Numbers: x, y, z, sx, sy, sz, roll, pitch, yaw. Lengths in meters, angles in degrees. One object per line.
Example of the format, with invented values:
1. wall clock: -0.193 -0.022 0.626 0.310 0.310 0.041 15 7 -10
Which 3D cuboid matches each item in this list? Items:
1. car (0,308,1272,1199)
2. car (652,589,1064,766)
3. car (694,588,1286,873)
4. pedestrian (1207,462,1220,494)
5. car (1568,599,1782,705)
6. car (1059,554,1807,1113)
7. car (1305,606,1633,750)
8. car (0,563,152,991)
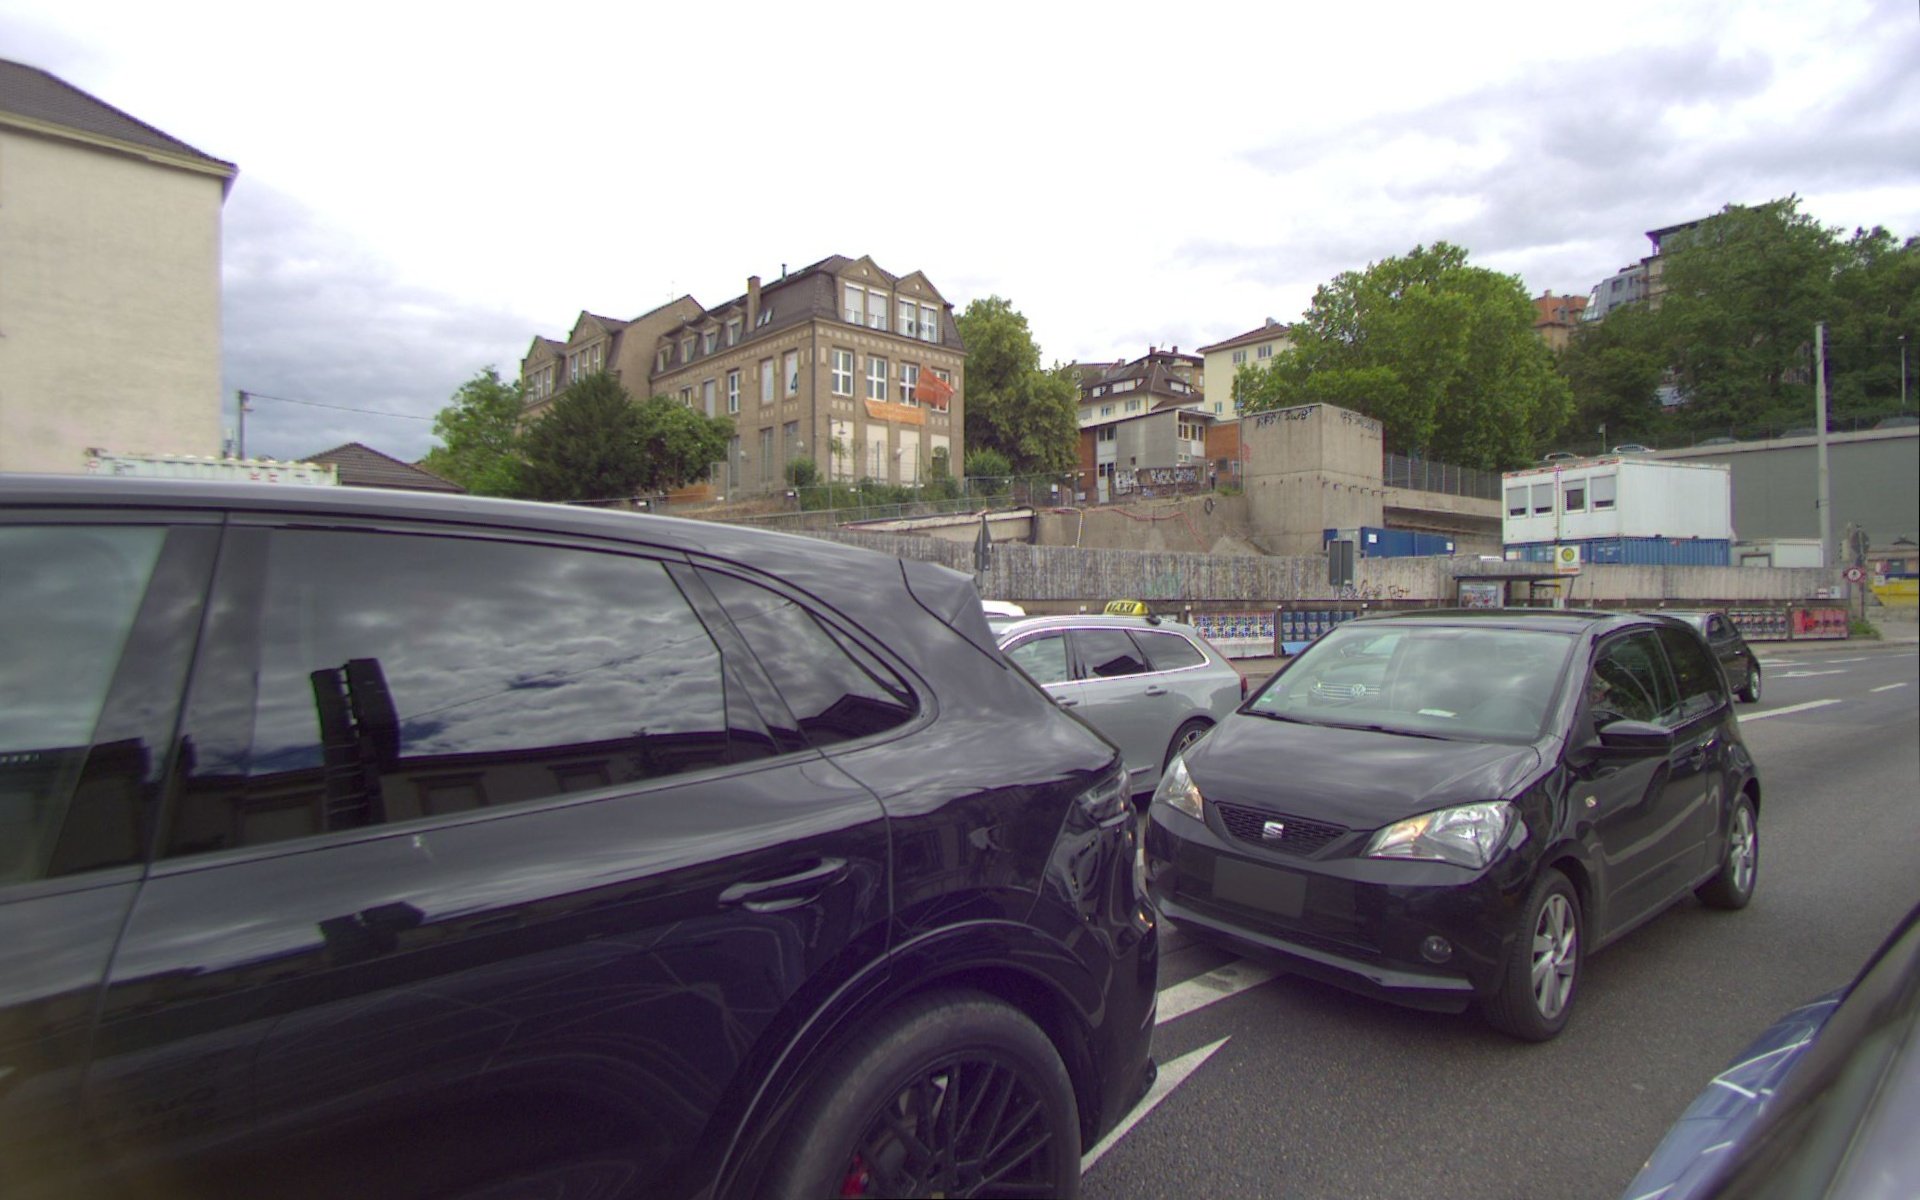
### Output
1. car: -1.656 0.560 1.668 4.497 1.689 1.998 -1 0 -39
2. car: -0.938 0.638 10.605 4.004 1.484 1.824 -1 0 -42
3. car: 0.401 0.662 7.341 4.142 1.484 1.825 -1 0 -40
4. pedestrian: 15.448 -7.429 61.666 0.560 1.817 0.554 0 0 -42
5. car: 11.290 0.755 15.918 3.711 1.478 1.721 1 -2 -38
6. car: 2.413 0.636 4.720 3.841 1.575 1.661 -1 0 -39
7. car: 6.025 0.774 11.807 4.139 1.381 1.827 1 0 -38
8. car: -5.060 0.640 3.459 3.581 1.529 1.826 -1 0 -39
